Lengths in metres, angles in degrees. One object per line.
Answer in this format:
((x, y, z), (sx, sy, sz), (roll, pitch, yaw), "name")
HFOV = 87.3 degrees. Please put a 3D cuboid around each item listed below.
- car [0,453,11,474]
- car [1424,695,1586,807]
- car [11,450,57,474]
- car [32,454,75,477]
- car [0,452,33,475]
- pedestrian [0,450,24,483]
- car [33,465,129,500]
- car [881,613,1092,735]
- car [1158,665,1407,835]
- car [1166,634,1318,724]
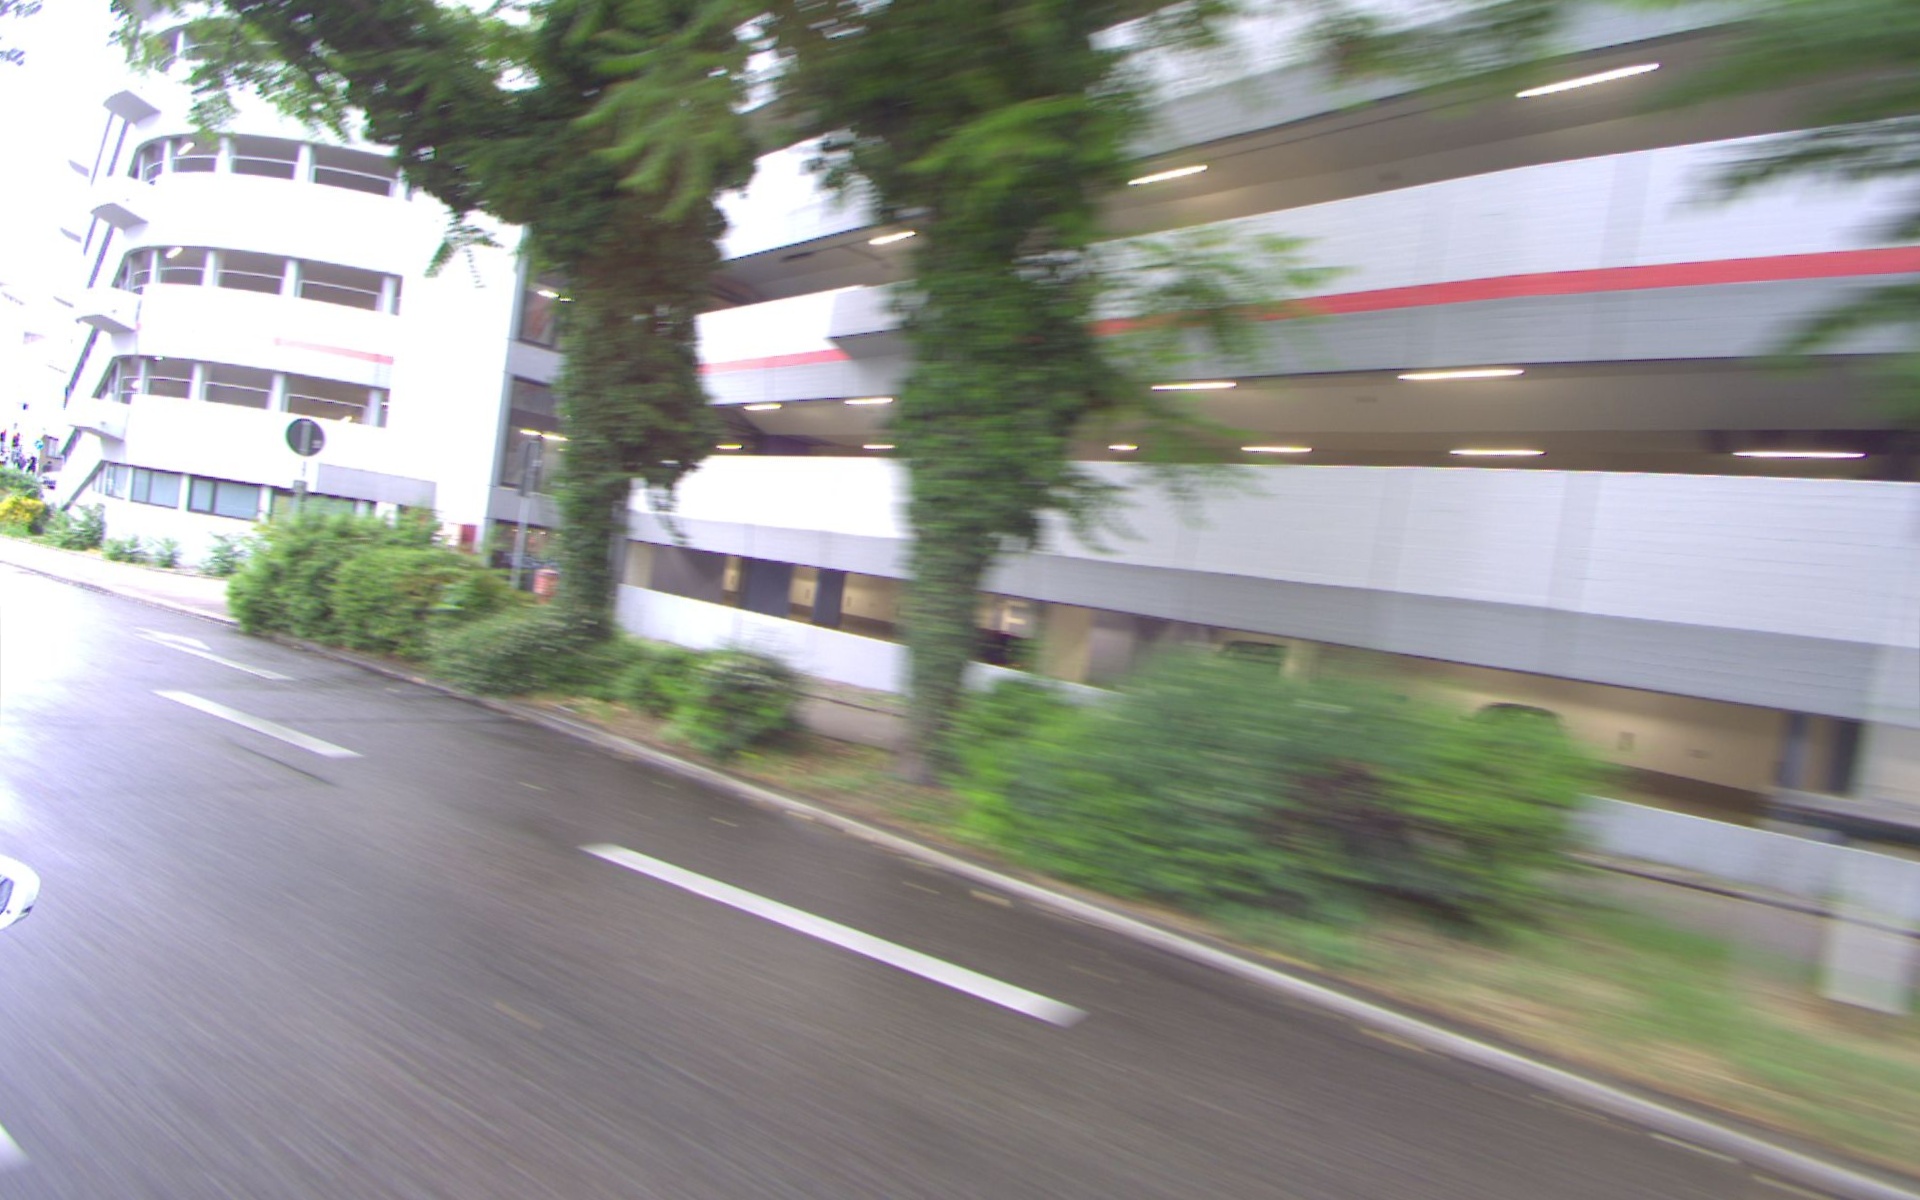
((-84.258, -11.984, 86.964), (1.974, 1.727, 3.975), (7, 1, -24), "car")
((11.220, 3.032, 20.595), (1.792, 1.804, 3.979), (7, 0, 43), "car")
((-88.918, -13.225, 96.649), (1.974, 1.727, 3.975), (7, 1, -24), "car")
((-91.293, -13.522, 101.368), (1.974, 1.727, 3.975), (7, 1, -24), "car")
((-86.391, -12.450, 91.350), (1.974, 1.727, 3.975), (7, 1, -24), "car")
((-67.824, -9.531, 71.958), (0.931, 2.156, 0.856), (8, 2, 26), "pedestrian")
((-54.583, -7.269, 62.524), (1.831, 1.458, 4.181), (8, 1, 38), "car")
((0.544, 1.371, 18.122), (1.792, 1.804, 3.448), (7, 0, 44), "car")
((4.523, 1.995, 13.876), (1.792, 1.804, 3.448), (7, 0, 44), "car")
((7.001, 1.979, 24.756), (1.792, 1.804, 3.979), (7, 0, 43), "car")
